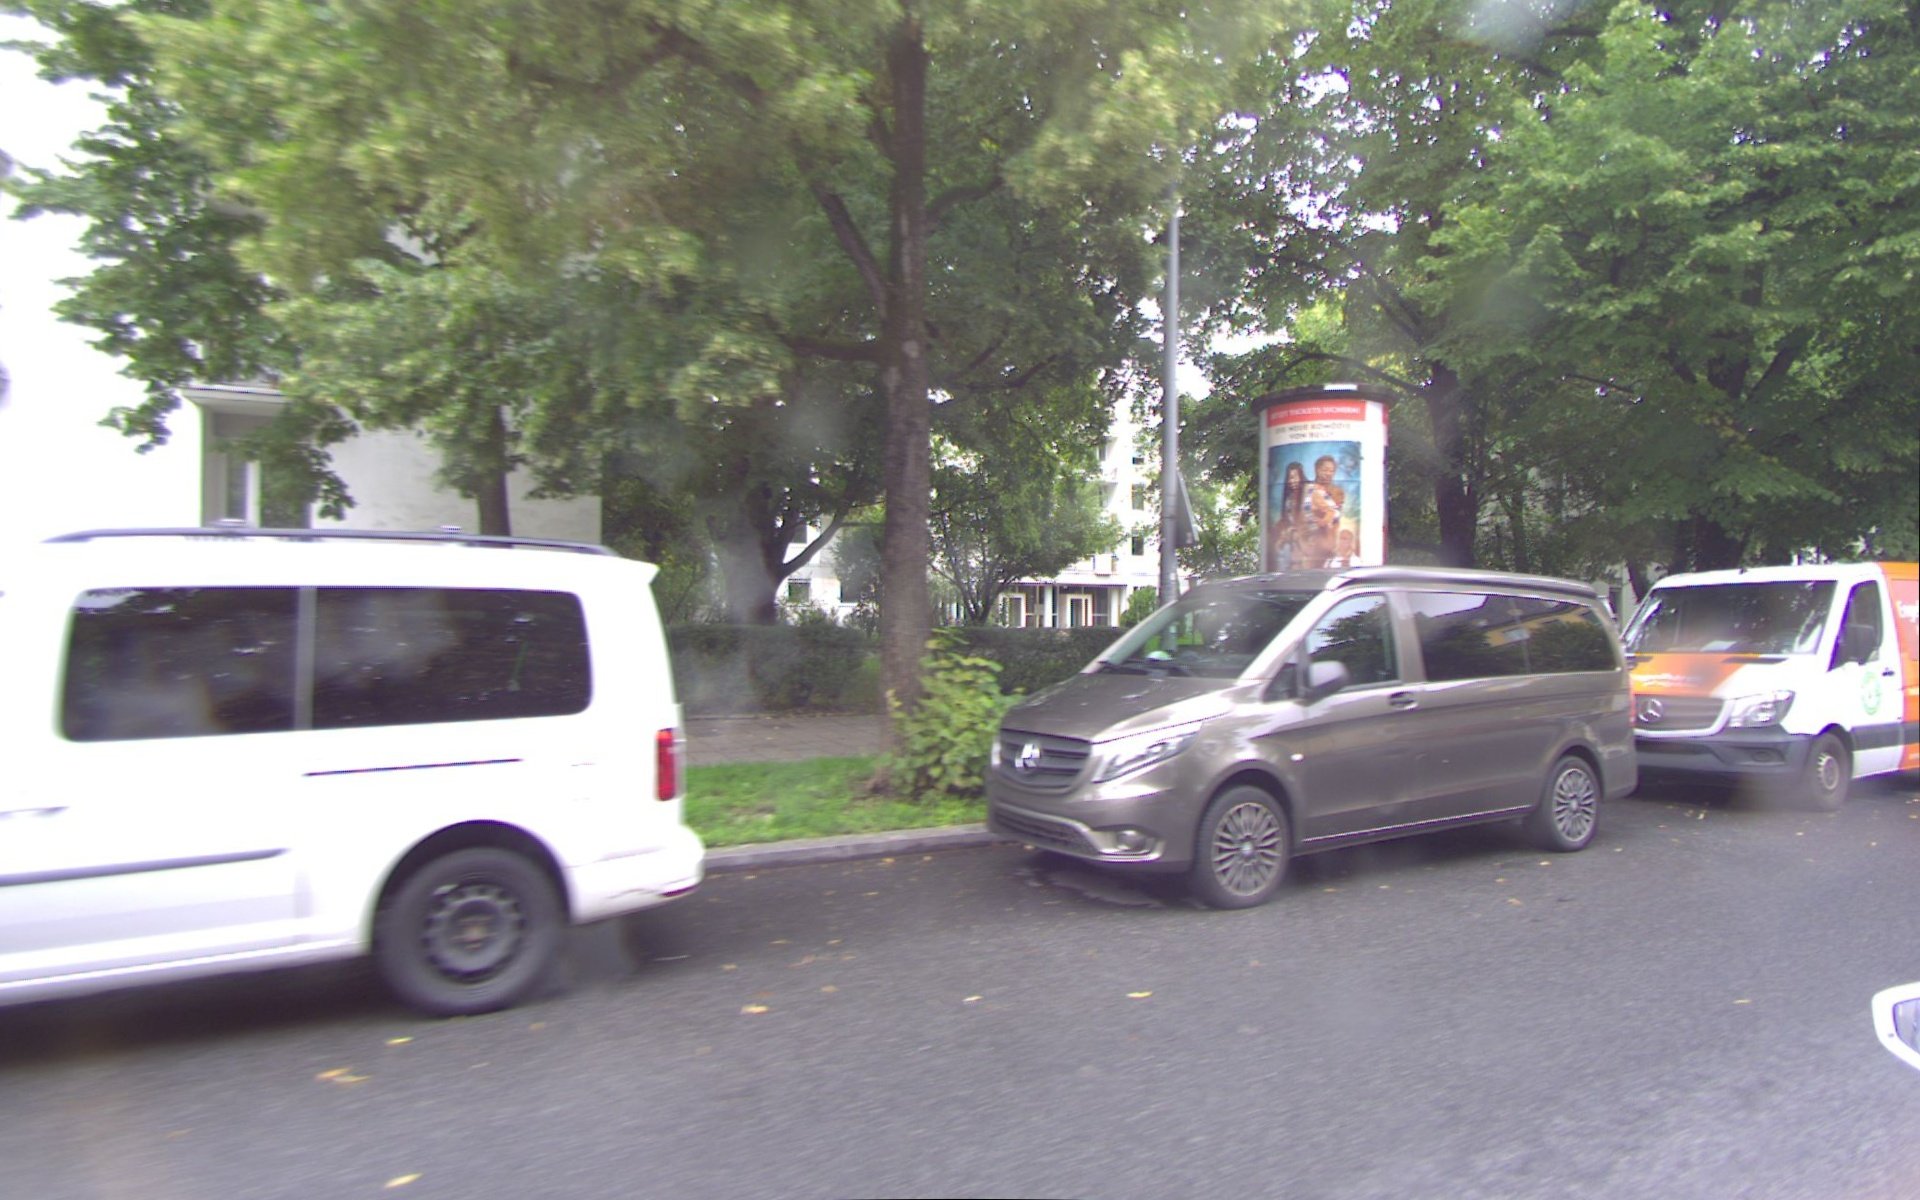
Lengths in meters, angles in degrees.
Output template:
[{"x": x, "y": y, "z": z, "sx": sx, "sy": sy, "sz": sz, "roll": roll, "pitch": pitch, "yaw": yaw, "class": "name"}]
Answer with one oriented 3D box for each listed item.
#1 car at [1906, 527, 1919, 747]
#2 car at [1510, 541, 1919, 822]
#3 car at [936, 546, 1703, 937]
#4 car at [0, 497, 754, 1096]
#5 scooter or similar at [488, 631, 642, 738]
[{"x": 16.433, "y": 0.562, "z": 14.531, "sx": 6.155, "sy": 3.042, "sz": 2.164, "roll": 1, "pitch": -2, "yaw": -28, "class": "car"}, {"x": 8.462, "y": 0.769, "z": 10.413, "sx": 5.530, "sy": 2.294, "sz": 2.077, "roll": 1, "pitch": -3, "yaw": -27, "class": "car"}, {"x": 2.756, "y": 0.801, "z": 7.238, "sx": 5.597, "sy": 1.933, "sz": 2.018, "roll": 1, "pitch": -3, "yaw": -29, "class": "car"}, {"x": -3.493, "y": 0.654, "z": 4.206, "sx": 4.794, "sy": 1.929, "sz": 2.077, "roll": 1, "pitch": -2, "yaw": -26, "class": "car"}, {"x": -4.748, "y": 0.982, "z": 12.085, "sx": 1.637, "sy": 1.207, "sz": 0.698, "roll": 1, "pitch": -2, "yaw": -29, "class": "scooter or similar"}]
